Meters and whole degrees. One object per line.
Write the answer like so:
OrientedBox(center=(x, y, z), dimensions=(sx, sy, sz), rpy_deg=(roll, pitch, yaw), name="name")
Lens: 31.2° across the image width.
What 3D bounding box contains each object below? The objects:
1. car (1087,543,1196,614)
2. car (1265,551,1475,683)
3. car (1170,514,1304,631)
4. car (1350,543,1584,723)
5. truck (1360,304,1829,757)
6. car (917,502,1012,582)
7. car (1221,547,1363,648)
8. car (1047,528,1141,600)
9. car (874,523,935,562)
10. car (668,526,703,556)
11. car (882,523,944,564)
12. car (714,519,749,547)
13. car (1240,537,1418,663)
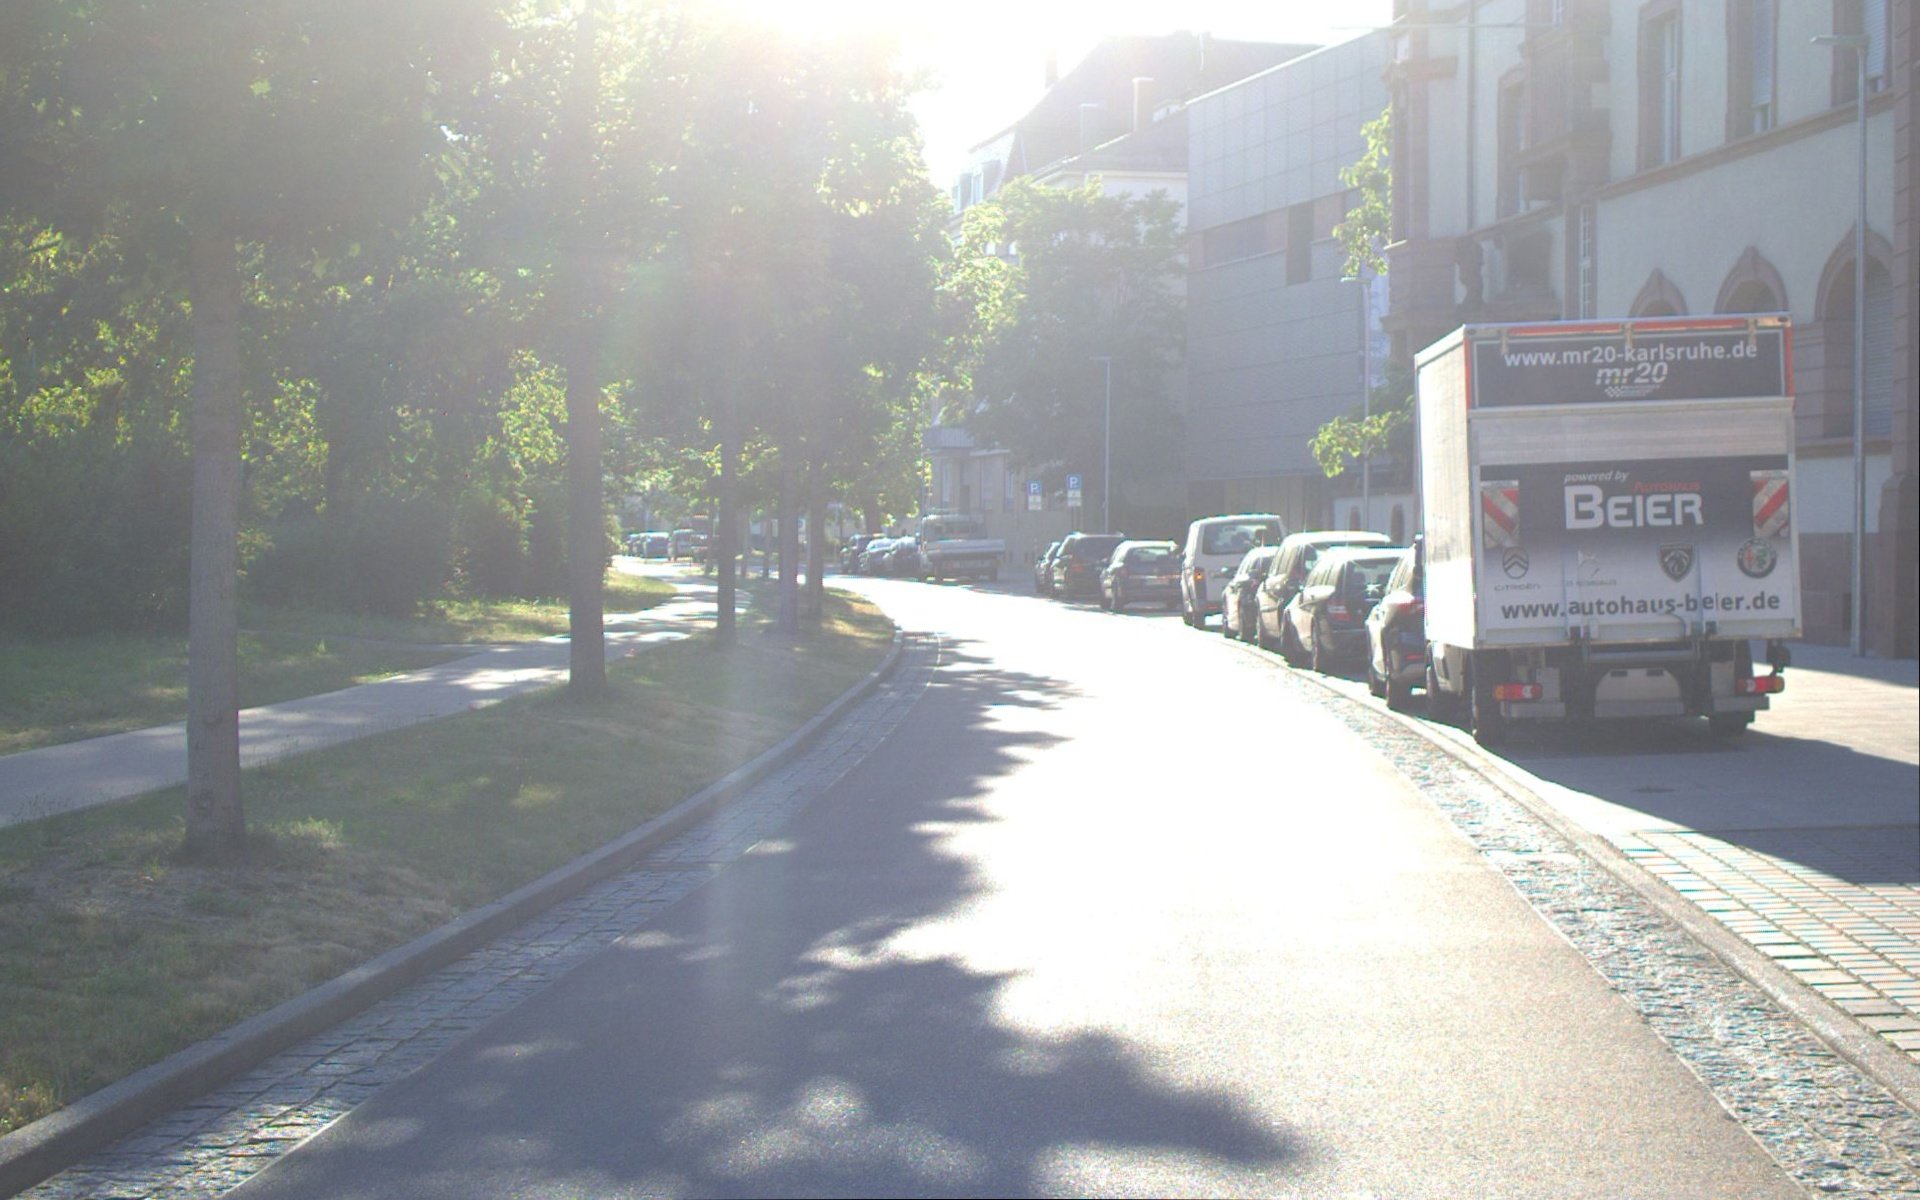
OrientedBox(center=(3.928, -0.492, 74.985), dimensions=(1.747, 1.461, 4.478), rpy_deg=(1, 1, -5), name="car")
OrientedBox(center=(4.913, 0.159, 41.765), dimensions=(1.871, 1.431, 4.523), rpy_deg=(-2, 1, -1), name="car")
OrientedBox(center=(5.029, -0.530, 63.012), dimensions=(1.993, 1.959, 4.849), rpy_deg=(-3, 1, 0), name="car")
OrientedBox(center=(4.769, 0.254, 32.866), dimensions=(1.768, 1.525, 4.572), rpy_deg=(-2, 1, 3), name="car")
OrientedBox(center=(4.769, -0.540, 26.980), dimensions=(2.623, 3.110, 6.087), rpy_deg=(-1, 1, 1), name="truck")
OrientedBox(center=(0.105, -1.942, 114.360), dimensions=(2.211, 2.521, 6.149), rpy_deg=(-2, 2, -8), name="car")
OrientedBox(center=(5.016, -0.062, 52.357), dimensions=(1.679, 1.398, 4.200), rpy_deg=(-2, 1, 0), name="car")
OrientedBox(center=(3.302, -0.913, 85.348), dimensions=(1.724, 1.663, 4.115), rpy_deg=(-2, 2, -6), name="car")
OrientedBox(center=(-2.117, -2.178, 130.030), dimensions=(1.690, 1.435, 4.105), rpy_deg=(-1, 2, -10), name="car")
OrientedBox(center=(-16.186, -3.480, 202.262), dimensions=(1.793, 1.718, 4.001), rpy_deg=(0, 1, -8), name="car")
OrientedBox(center=(-1.724, -2.061, 125.310), dimensions=(1.690, 1.435, 3.551), rpy_deg=(-1, 2, -10), name="car")
OrientedBox(center=(-12.557, -3.685, 188.694), dimensions=(1.793, 1.504, 4.001), rpy_deg=(0, 1, -6), name="car")
OrientedBox(center=(5.023, -0.034, 47.292), dimensions=(1.815, 1.596, 4.193), rpy_deg=(-1, 1, -2), name="car")
